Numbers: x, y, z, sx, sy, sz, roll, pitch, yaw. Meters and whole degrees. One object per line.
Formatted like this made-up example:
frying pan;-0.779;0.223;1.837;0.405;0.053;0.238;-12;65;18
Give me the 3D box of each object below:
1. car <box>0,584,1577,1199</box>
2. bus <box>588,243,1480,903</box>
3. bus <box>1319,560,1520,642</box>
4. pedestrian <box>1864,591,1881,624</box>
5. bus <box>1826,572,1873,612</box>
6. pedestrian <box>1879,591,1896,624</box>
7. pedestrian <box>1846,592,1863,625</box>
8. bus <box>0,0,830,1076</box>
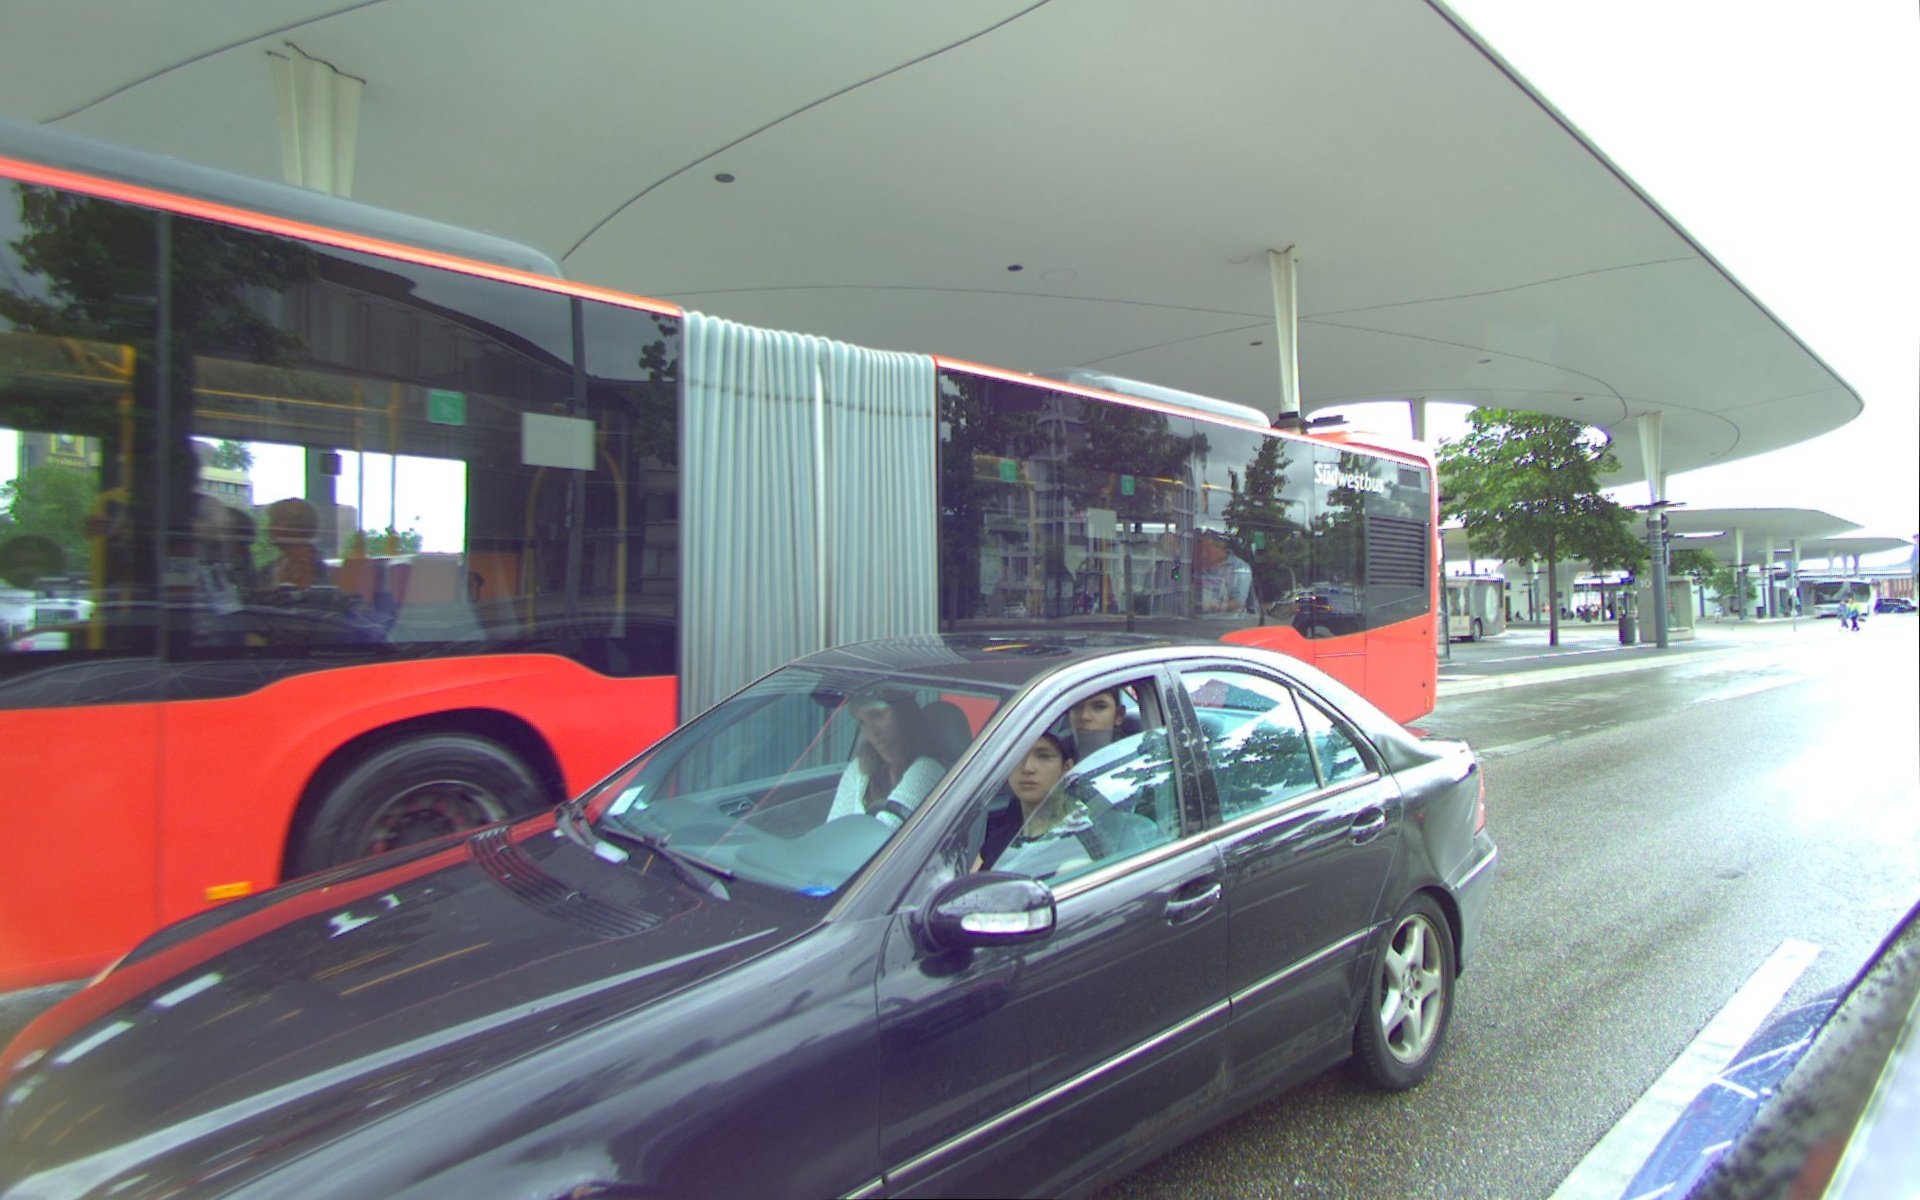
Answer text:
car;0.055;0.800;3.033;4.358;1.499;1.747;-2;-3;-41
bus;1.310;-0.147;8.596;7.978;3.214;2.747;0;0;-41
bus;20.152;0.043;43.741;12.136;3.146;3.001;0;-1;-40
pedestrian;46.041;0.365;51.079;0.543;1.645;0.556;0;-1;-41
bus;75.371;-0.667;85.708;2.666;3.169;9.565;-1;-1;43
pedestrian;46.301;0.367;50.519;0.543;1.645;0.556;0;-1;-41
pedestrian;45.642;0.435;51.626;0.577;1.645;0.576;0;-1;-41
bus;-5.280;-0.200;2.640;10.018;3.214;2.747;0;0;-42
